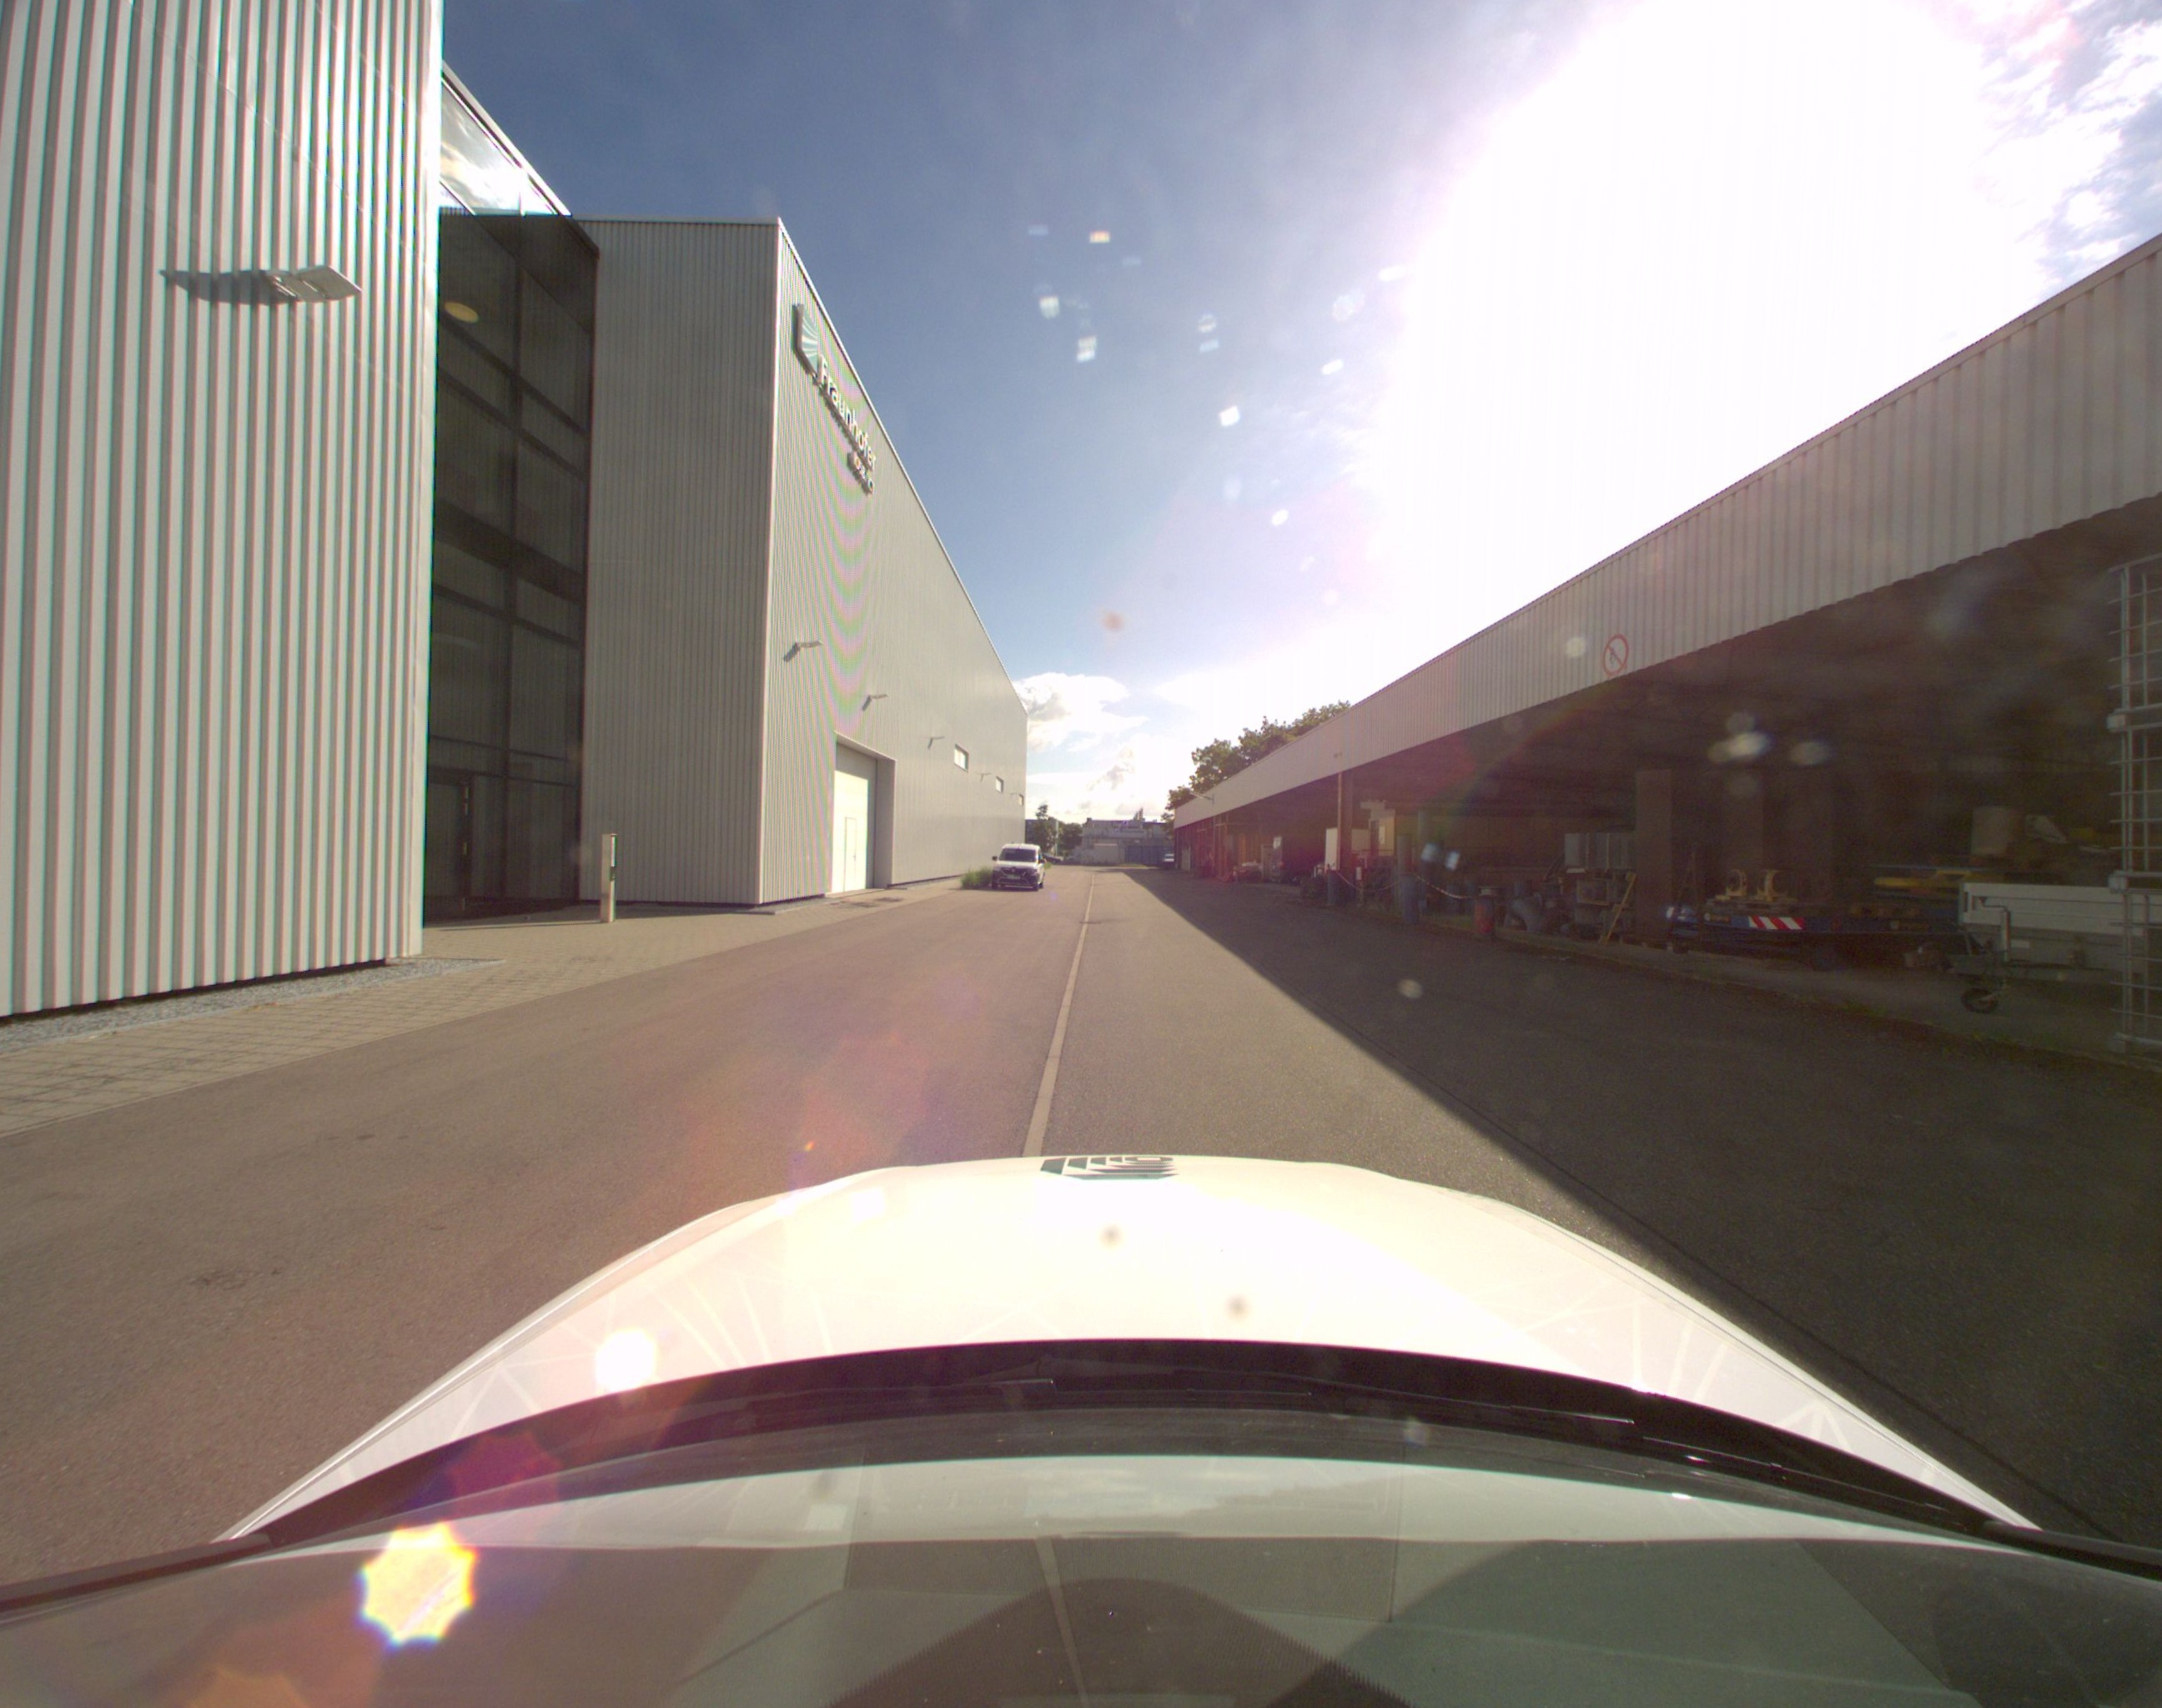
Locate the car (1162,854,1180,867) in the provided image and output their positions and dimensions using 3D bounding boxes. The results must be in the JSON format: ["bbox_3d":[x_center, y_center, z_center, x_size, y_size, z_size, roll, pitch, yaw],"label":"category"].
[{"bbox_3d":[11.199,0.799,102.080,1.971,1.602,4.380,0,1,3],"label":"car"}]

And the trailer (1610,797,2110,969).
[{"bbox_3d":[9.842,0.358,10.660,4.405,1.990,2.164,0,-1,2],"label":"trailer"}]

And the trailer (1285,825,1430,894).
[{"bbox_3d":[9.753,0.187,28.995,4.499,2.342,2.048,0,-1,2],"label":"trailer"}]

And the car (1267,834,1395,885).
[{"bbox_3d":[11.496,0.252,37.777,5.315,2.281,2.152,0,-1,0],"label":"car"}]

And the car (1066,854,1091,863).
[{"bbox_3d":[-0.393,0.782,142.538,4.288,1.457,1.824,0,-1,0],"label":"car"}]

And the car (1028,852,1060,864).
[{"bbox_3d":[-5.167,0.566,114.679,4.433,1.531,1.824,0,-1,0],"label":"car"}]

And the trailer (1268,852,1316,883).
[{"bbox_3d":[10.428,0.647,40.397,2.028,1.466,1.741,0,0,5],"label":"trailer"}]

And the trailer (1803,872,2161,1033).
[{"bbox_3d":[10.183,0.776,7.316,5.710,1.185,1.974,0,-1,-1],"label":"trailer"}]

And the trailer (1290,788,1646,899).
[{"bbox_3d":[12.265,-0.328,26.479,10.231,3.343,2.802,0,0,1],"label":"trailer"}]

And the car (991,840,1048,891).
[{"bbox_3d":[-2.391,0.453,32.688,1.777,1.816,4.602,2,0,1],"label":"car"}]

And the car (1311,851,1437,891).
[{"bbox_3d":[11.278,0.652,31.536,4.237,1.471,1.868,0,0,-2],"label":"car"}]

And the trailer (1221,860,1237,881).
[{"bbox_3d":[7.911,0.860,43.527,0.550,1.118,1.546,0,-1,-1],"label":"trailer"}]
